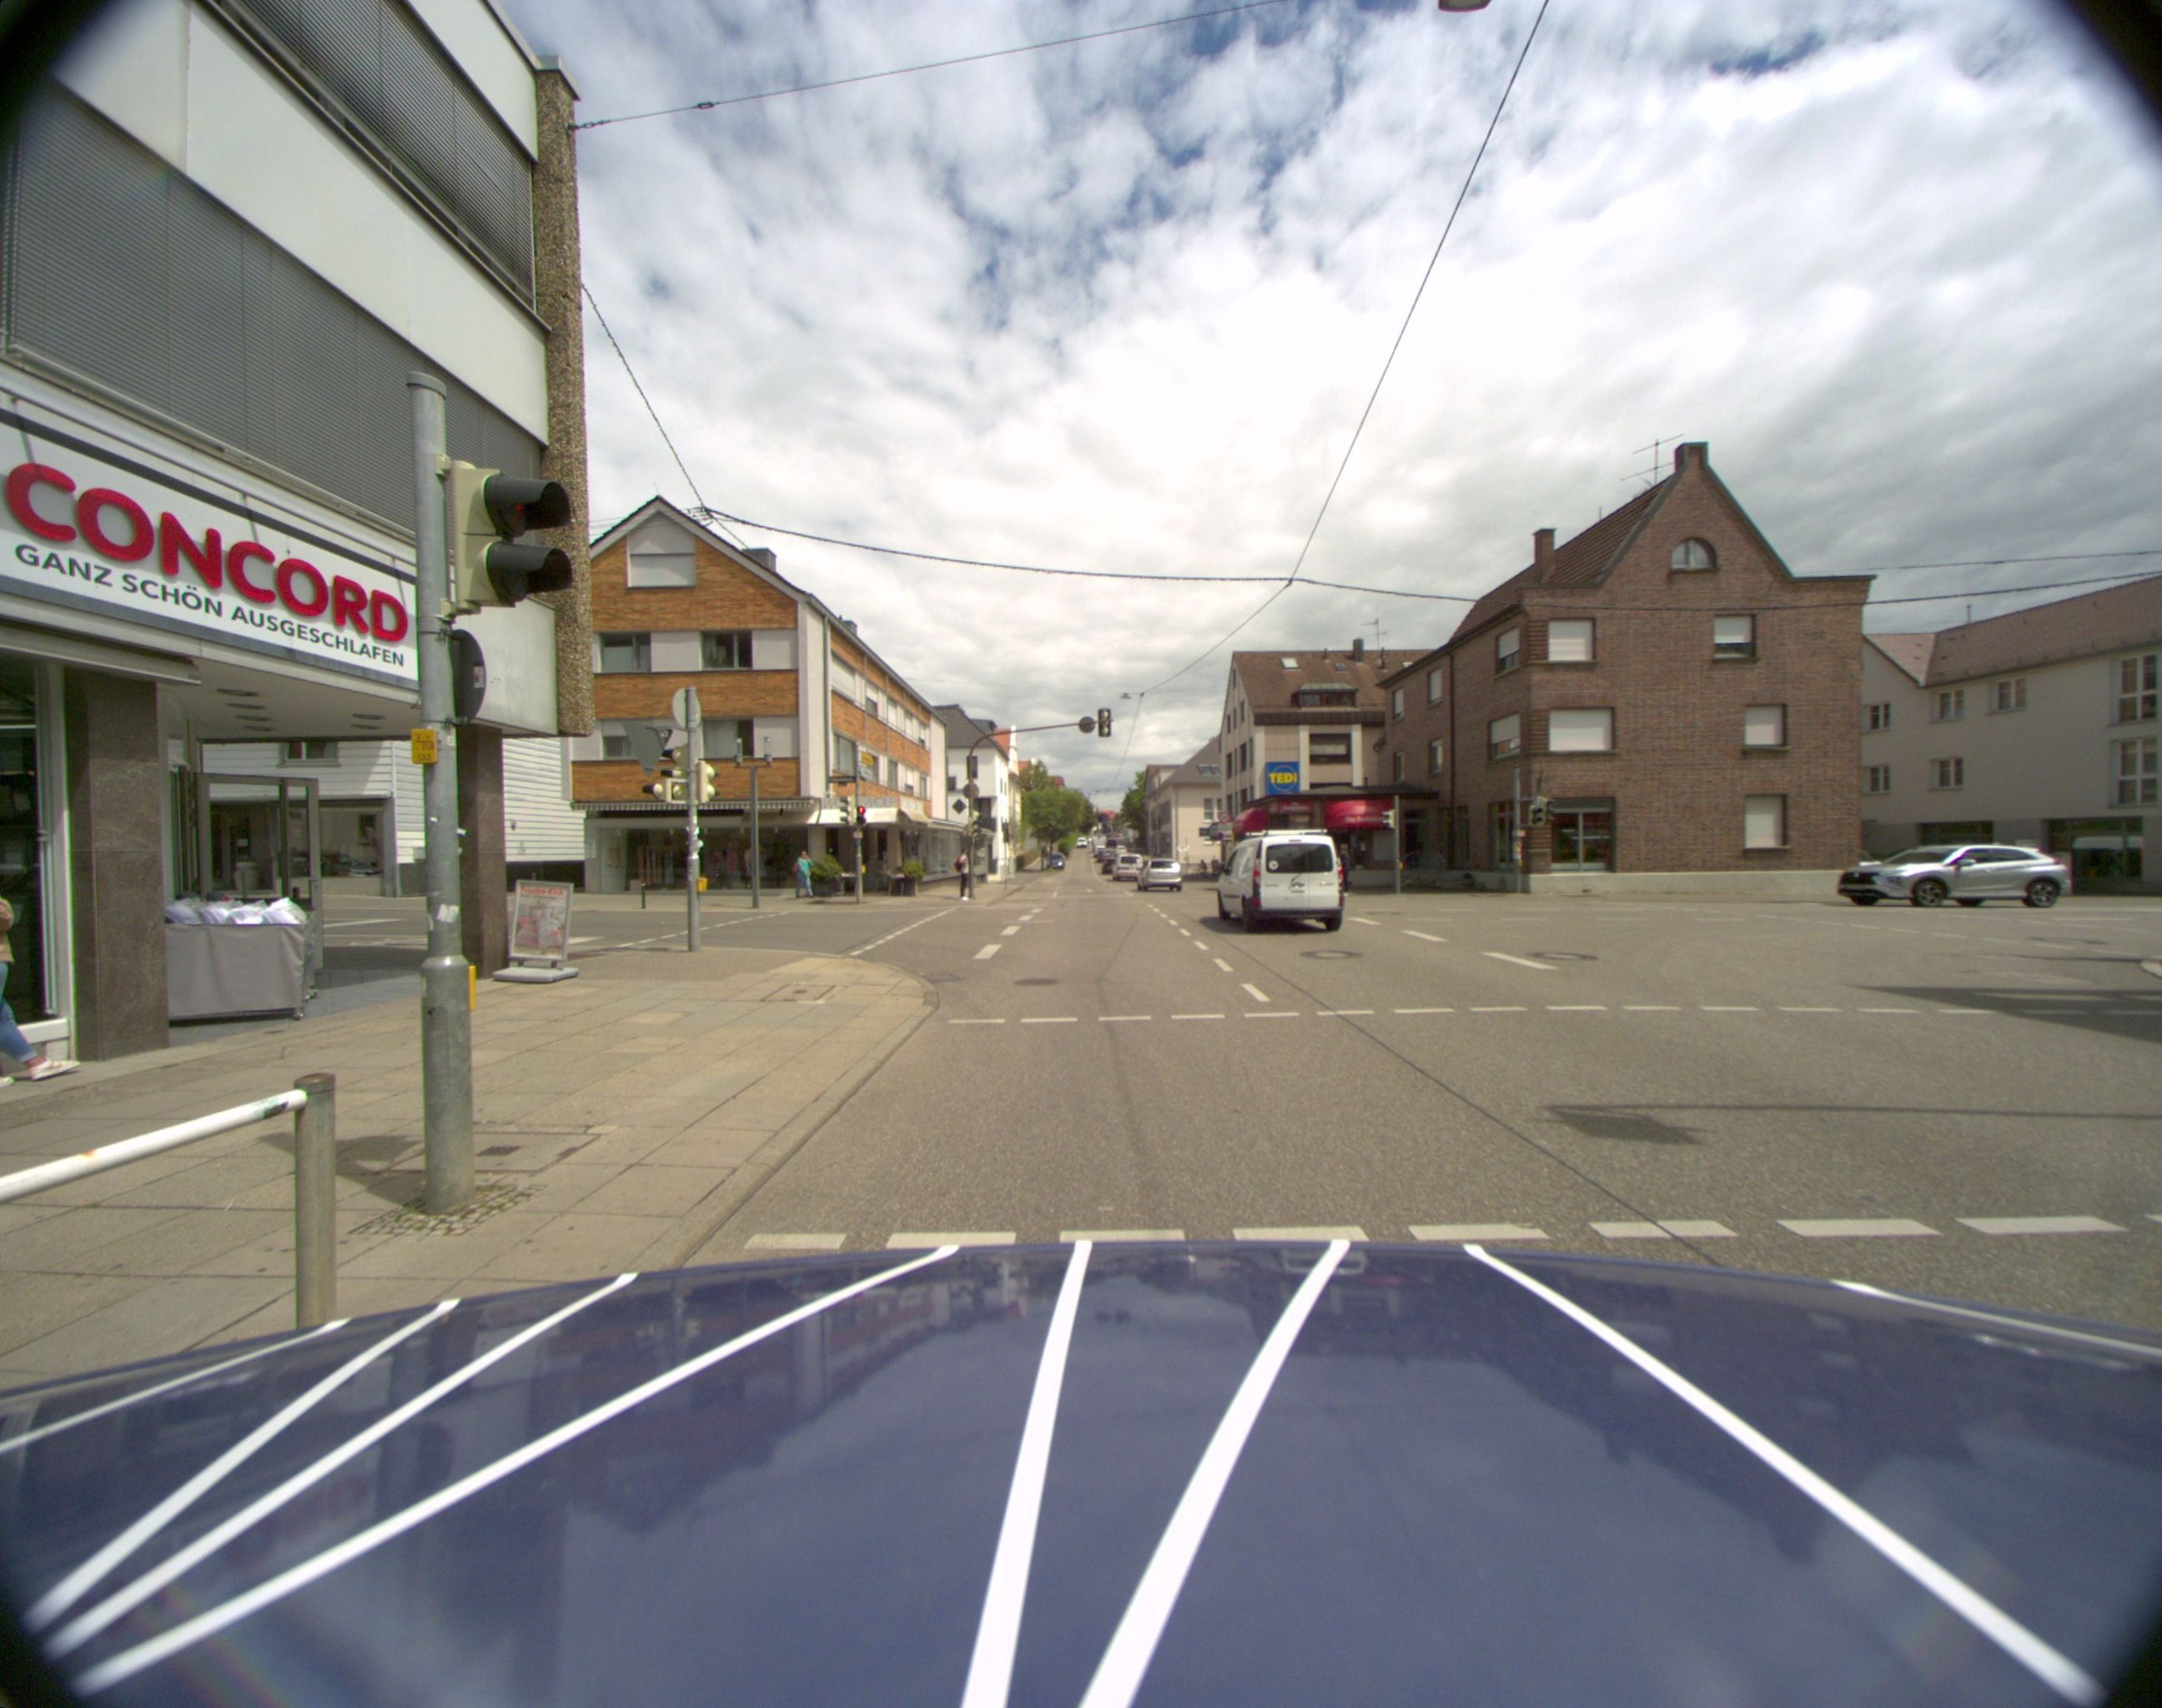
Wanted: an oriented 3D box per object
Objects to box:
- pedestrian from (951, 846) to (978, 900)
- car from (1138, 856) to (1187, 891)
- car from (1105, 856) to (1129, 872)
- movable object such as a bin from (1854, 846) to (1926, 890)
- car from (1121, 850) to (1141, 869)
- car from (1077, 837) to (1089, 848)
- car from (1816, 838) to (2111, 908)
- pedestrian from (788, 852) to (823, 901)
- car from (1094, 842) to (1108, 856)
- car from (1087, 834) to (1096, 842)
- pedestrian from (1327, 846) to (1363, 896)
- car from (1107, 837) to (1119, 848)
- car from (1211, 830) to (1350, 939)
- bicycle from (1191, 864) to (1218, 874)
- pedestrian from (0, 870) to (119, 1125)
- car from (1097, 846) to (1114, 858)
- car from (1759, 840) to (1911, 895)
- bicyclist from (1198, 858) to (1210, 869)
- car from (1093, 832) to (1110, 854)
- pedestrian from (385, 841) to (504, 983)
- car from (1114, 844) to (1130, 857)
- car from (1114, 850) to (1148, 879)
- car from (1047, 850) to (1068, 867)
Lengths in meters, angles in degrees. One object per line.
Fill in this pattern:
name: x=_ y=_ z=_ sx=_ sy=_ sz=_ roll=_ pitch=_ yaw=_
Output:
pedestrian: x=-4.017 y=0.654 z=26.170 sx=0.581 sy=1.820 sz=0.882 roll=1 pitch=1 yaw=17
car: x=3.696 y=0.855 z=35.076 sx=1.757 sy=1.478 sz=3.970 roll=0 pitch=0 yaw=-1
car: x=3.198 y=0.850 z=68.621 sx=1.858 sy=1.371 sz=4.271 roll=0 pitch=0 yaw=-1
movable object such as a bin: x=31.137 y=0.540 z=29.276 sx=1.519 sy=1.615 sz=1.145 roll=-2 pitch=1 yaw=4
car: x=5.961 y=0.628 z=90.924 sx=2.111 sy=2.109 sz=4.765 roll=-1 pitch=0 yaw=0
car: x=0.377 y=-2.036 z=139.048 sx=2.000 sy=1.797 sz=4.764 roll=3 pitch=0 yaw=-1
car: x=23.127 y=0.493 z=20.098 sx=5.255 sy=1.758 sz=2.001 roll=0 pitch=0 yaw=4
pedestrian: x=-8.626 y=0.687 z=23.796 sx=0.818 sy=1.517 sz=0.779 roll=0 pitch=1 yaw=0
car: x=2.800 y=-0.651 z=106.649 sx=1.858 sy=1.957 sz=4.192 roll=0 pitch=0 yaw=-1
car: x=2.405 y=-3.735 z=175.490 sx=1.998 sy=1.654 sz=4.000 roll=0 pitch=0 yaw=1
pedestrian: x=9.303 y=0.586 z=26.797 sx=0.908 sy=1.713 sz=0.849 roll=-1 pitch=1 yaw=-41
car: x=5.961 y=-2.117 z=141.364 sx=2.111 sy=2.109 sz=4.764 roll=0 pitch=1 yaw=0
car: x=3.886 y=0.541 z=15.493 sx=1.819 sy=1.919 sz=4.112 roll=0 pitch=0 yaw=1
bicycle: x=8.959 y=1.081 z=55.146 sx=2.291 sy=0.724 sz=0.663 roll=0 pitch=0 yaw=-43
pedestrian: x=-6.704 y=0.850 z=4.650 sx=0.681 sy=1.490 sz=0.720 roll=0 pitch=1 yaw=1
car: x=3.026 y=-0.247 z=94.629 sx=1.858 sy=1.414 sz=4.192 roll=0 pitch=0 yaw=-1
car: x=27.164 y=0.468 z=27.552 sx=1.869 sy=1.852 sz=3.702 roll=0 pitch=0 yaw=1
bicyclist: x=8.931 y=0.662 z=55.156 sx=0.893 sy=0.803 sz=0.494 roll=-1 pitch=1 yaw=-45
car: x=3.257 y=-1.762 z=121.918 sx=2.428 sy=3.409 sz=7.636 roll=0 pitch=0 yaw=-1
pedestrian: x=-7.807 y=0.674 z=9.339 sx=0.805 sy=1.661 sz=0.798 roll=0 pitch=1 yaw=17
car: x=5.870 y=-0.515 z=108.598 sx=2.111 sy=1.778 sz=4.529 roll=-1 pitch=0 yaw=0
car: x=3.576 y=0.705 z=55.069 sx=1.982 sy=1.985 sz=5.027 roll=0 pitch=0 yaw=-1
car: x=-2.460 y=0.439 z=79.299 sx=1.998 sy=1.654 sz=4.000 roll=0 pitch=0 yaw=1
